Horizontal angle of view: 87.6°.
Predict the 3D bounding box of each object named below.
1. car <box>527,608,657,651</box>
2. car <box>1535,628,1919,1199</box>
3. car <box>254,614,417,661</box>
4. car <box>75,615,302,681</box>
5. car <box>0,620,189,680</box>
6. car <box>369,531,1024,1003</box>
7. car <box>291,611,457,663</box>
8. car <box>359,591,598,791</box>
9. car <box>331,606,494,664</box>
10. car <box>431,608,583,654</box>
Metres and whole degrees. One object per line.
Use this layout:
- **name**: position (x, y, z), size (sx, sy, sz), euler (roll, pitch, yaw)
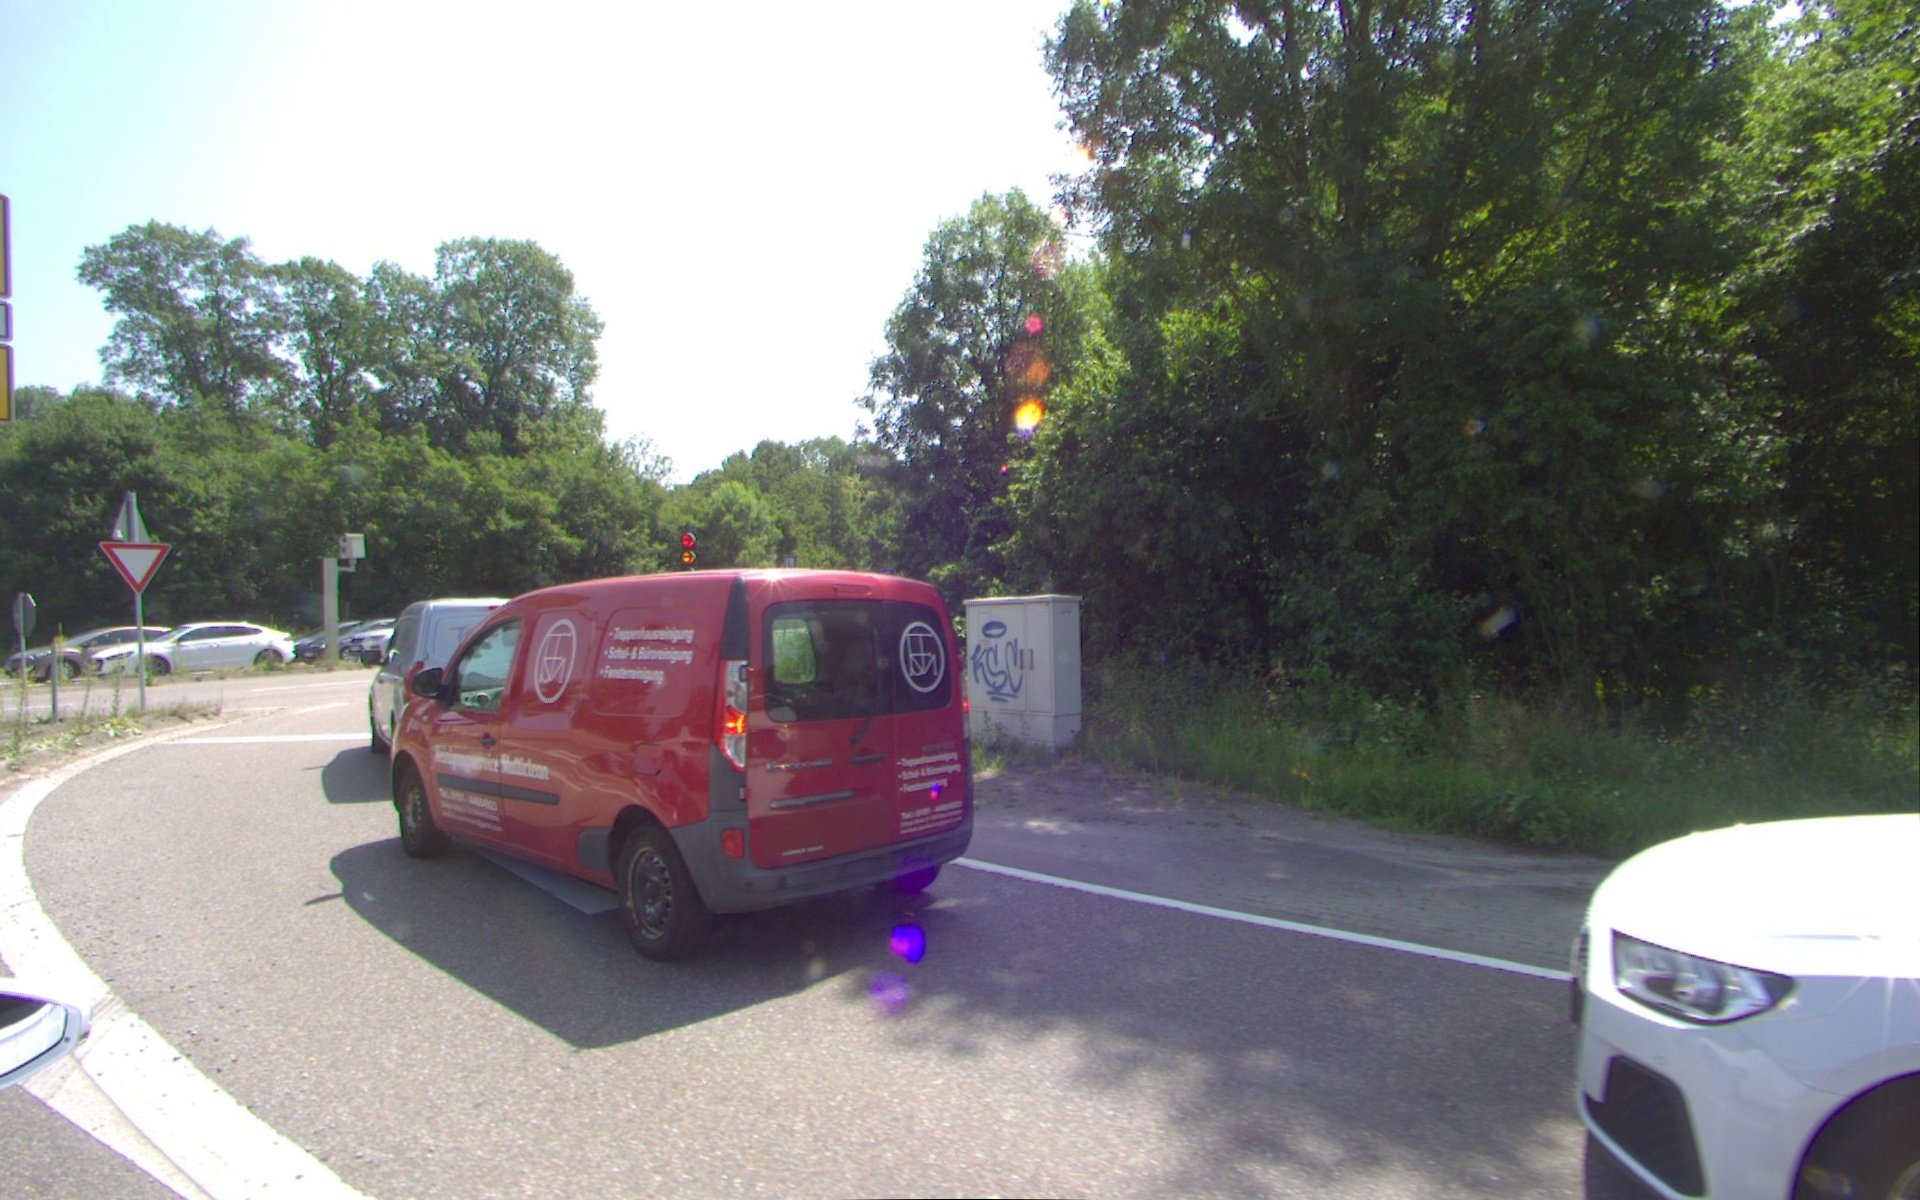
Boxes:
- **car**: position (-13.907, 1.084, 38.044), size (1.946, 1.433, 4.321), euler (-2, 0, 32)
- **car**: position (3.391, 0.792, 1.832), size (3.946, 1.453, 1.686), euler (-1, -3, 35)
- **car**: position (-22.733, 1.354, 36.650), size (2.082, 1.518, 4.607), euler (-2, -1, 32)
- **car**: position (-20.558, 1.220, 26.882), size (1.970, 1.555, 4.413), euler (-1, 0, 30)
- **car**: position (-24.363, 1.331, 27.935), size (1.965, 1.466, 4.086), euler (-1, 0, 30)
- **car**: position (-1.887, 0.714, 6.111), size (4.448, 1.846, 1.782), euler (-1, -2, 43)
- **car**: position (-19.929, 1.232, 34.232), size (2.092, 1.555, 4.411), euler (-2, -1, 31)
- **car**: position (-5.512, 0.842, 11.179), size (1.739, 1.797, 4.084), euler (-1, 0, -35)
- **car**: position (-17.565, 1.073, 32.307), size (1.971, 1.681, 4.164), euler (-1, 0, 32)
- **car**: position (-17.657, 1.176, 39.300), size (2.108, 1.554, 5.118), euler (-2, 0, 32)
